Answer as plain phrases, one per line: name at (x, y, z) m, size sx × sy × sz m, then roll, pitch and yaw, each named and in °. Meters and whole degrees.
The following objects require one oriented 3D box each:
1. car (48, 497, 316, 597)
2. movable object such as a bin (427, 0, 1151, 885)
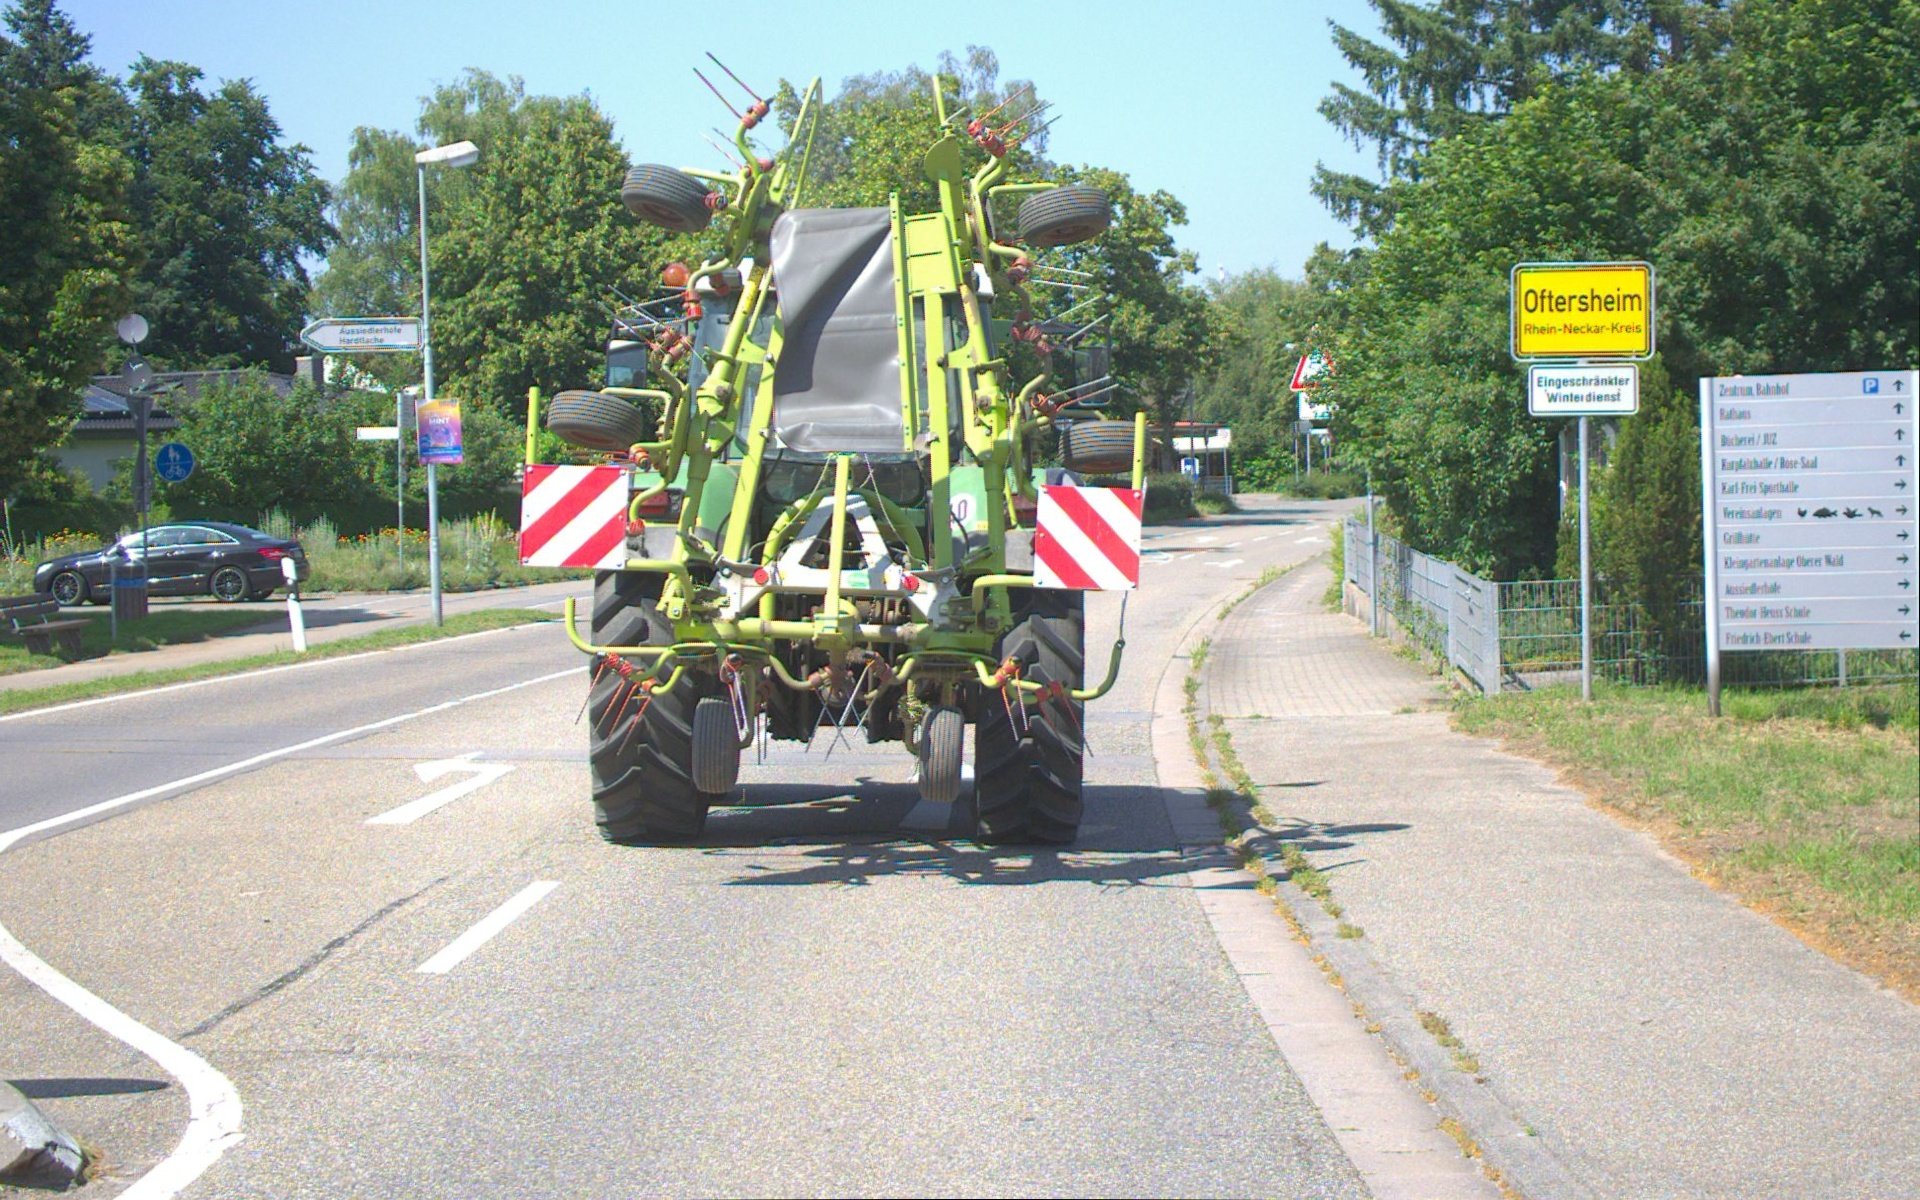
car at (-13.195, -0.913, 58.483) m, size 4.087 × 1.514 × 2.000 m, roll -2°, pitch 2°, yaw -2°
movable object such as a bin at (-0.591, -0.795, 18.487) m, size 2.853 × 3.529 × 9.701 m, roll 0°, pitch 2°, yaw 1°
